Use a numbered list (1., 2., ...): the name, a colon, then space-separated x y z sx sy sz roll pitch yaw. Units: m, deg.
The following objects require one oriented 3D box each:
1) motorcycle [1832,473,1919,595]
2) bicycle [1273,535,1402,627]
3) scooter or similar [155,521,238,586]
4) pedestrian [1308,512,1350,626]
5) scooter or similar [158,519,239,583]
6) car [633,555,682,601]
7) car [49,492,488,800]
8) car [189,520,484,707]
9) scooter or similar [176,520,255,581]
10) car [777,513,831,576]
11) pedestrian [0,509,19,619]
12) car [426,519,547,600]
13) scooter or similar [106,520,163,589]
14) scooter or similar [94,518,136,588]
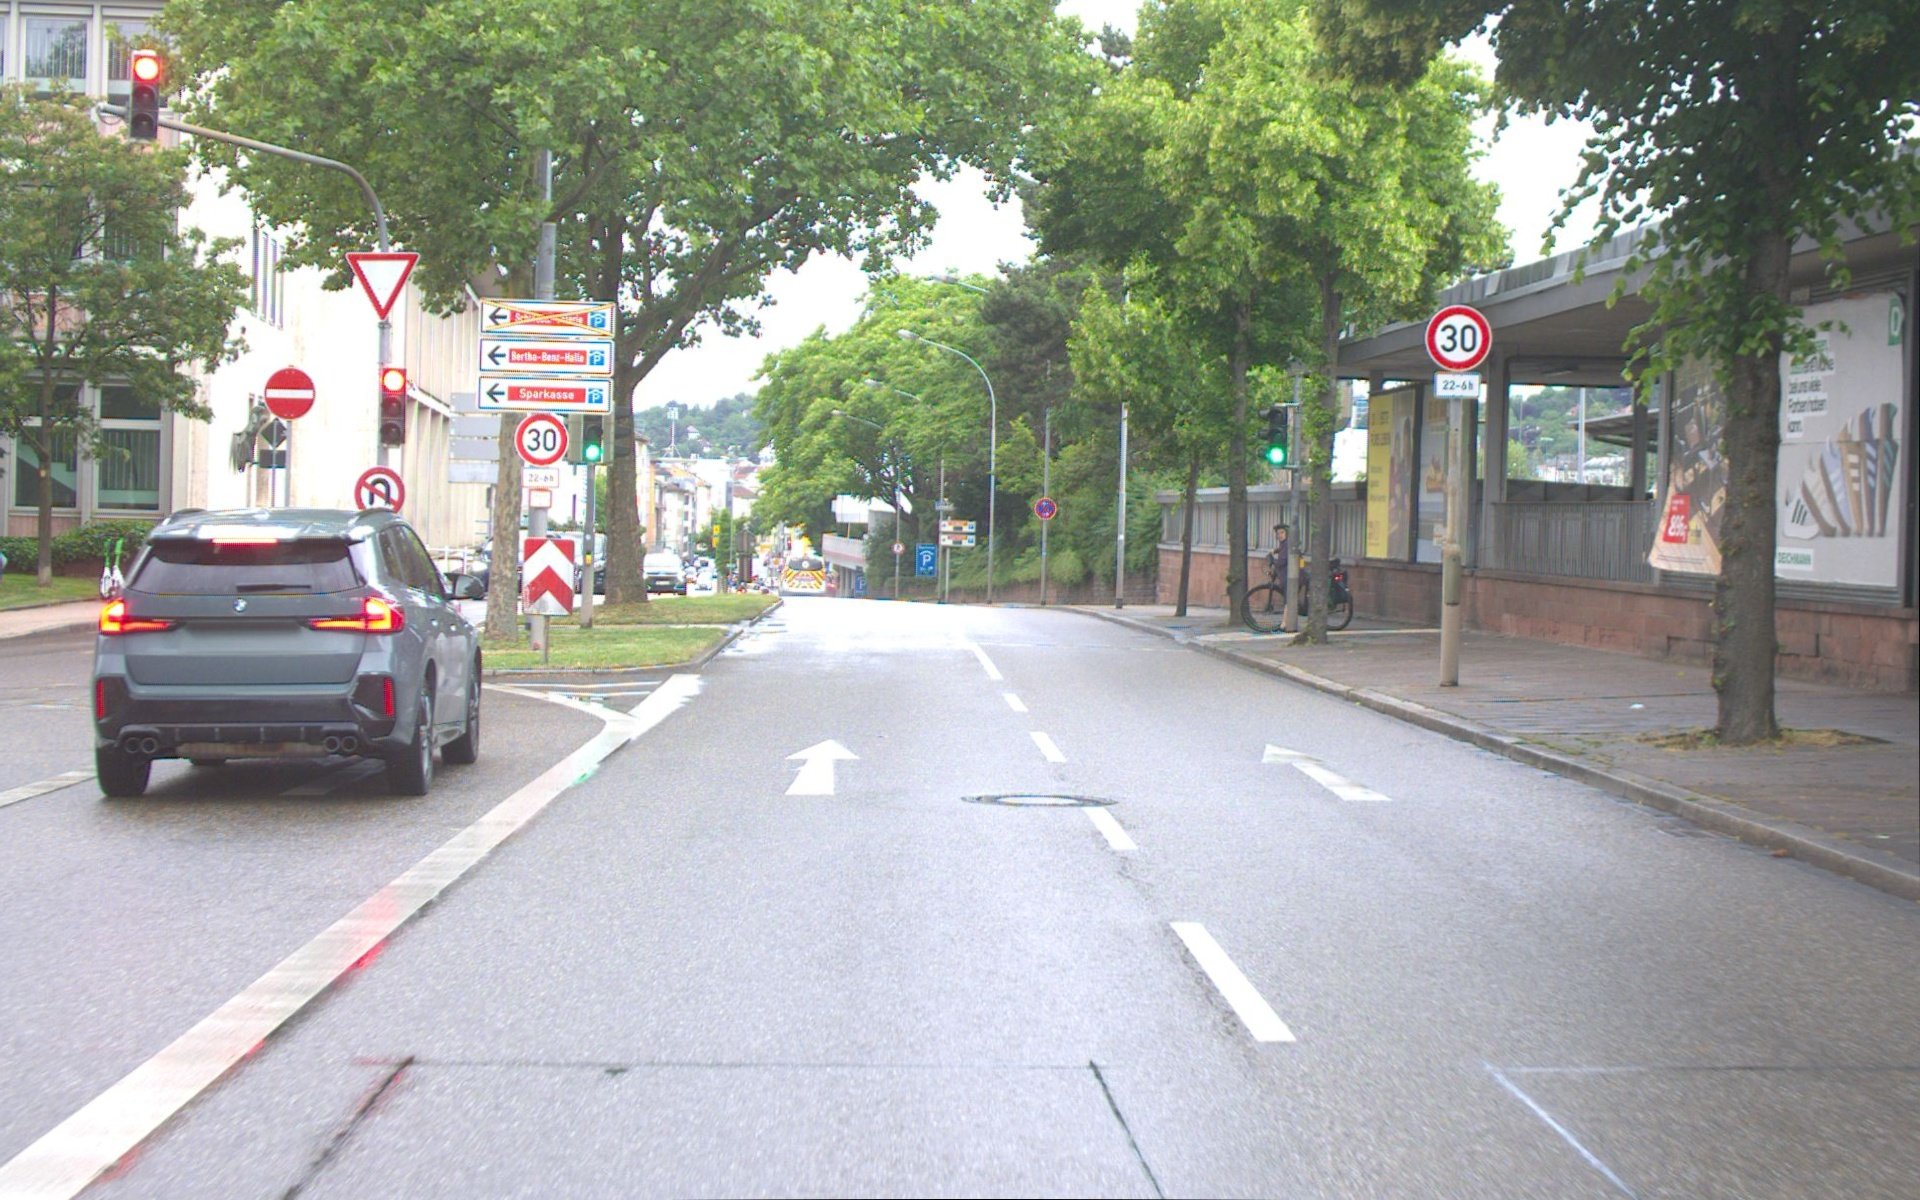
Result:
1. motorcycle: 12.905 -0.867 45.851 2.341 1.604 0.694 1 1 -2
2. bicycle: 5.272 -0.271 48.062 1.723 1.244 0.485 1 2 30
3. scooter or similar: -14.205 -0.875 63.967 0.608 1.188 1.525 1 1 32
4. pedestrian: 5.119 -0.431 47.634 0.457 1.563 0.392 1 2 30
5. scooter or similar: -14.449 -0.929 65.277 0.608 1.188 1.525 1 1 32
6. car: -11.358 -0.838 129.217 1.821 1.655 4.338 0 1 -5
7. car: -3.965 0.199 20.421 1.964 1.634 4.359 0 1 -3
8. car: -5.182 0.049 28.154 1.815 1.404 4.416 0 1 -18
9. scooter or similar: -14.412 -0.967 66.602 0.608 1.160 1.525 1 1 32
10. car: -6.730 -2.397 148.057 2.264 2.647 4.001 0 1 -3
11. pedestrian: -14.134 -0.538 50.345 0.653 1.597 0.925 0 1 -13
12. car: -9.790 -0.809 71.361 1.841 1.503 4.103 4 0 0
13. scooter or similar: -14.410 -0.804 60.026 0.570 1.188 1.574 0 1 2
14. scooter or similar: -14.351 -0.805 58.411 0.488 1.163 1.502 0 1 -6
